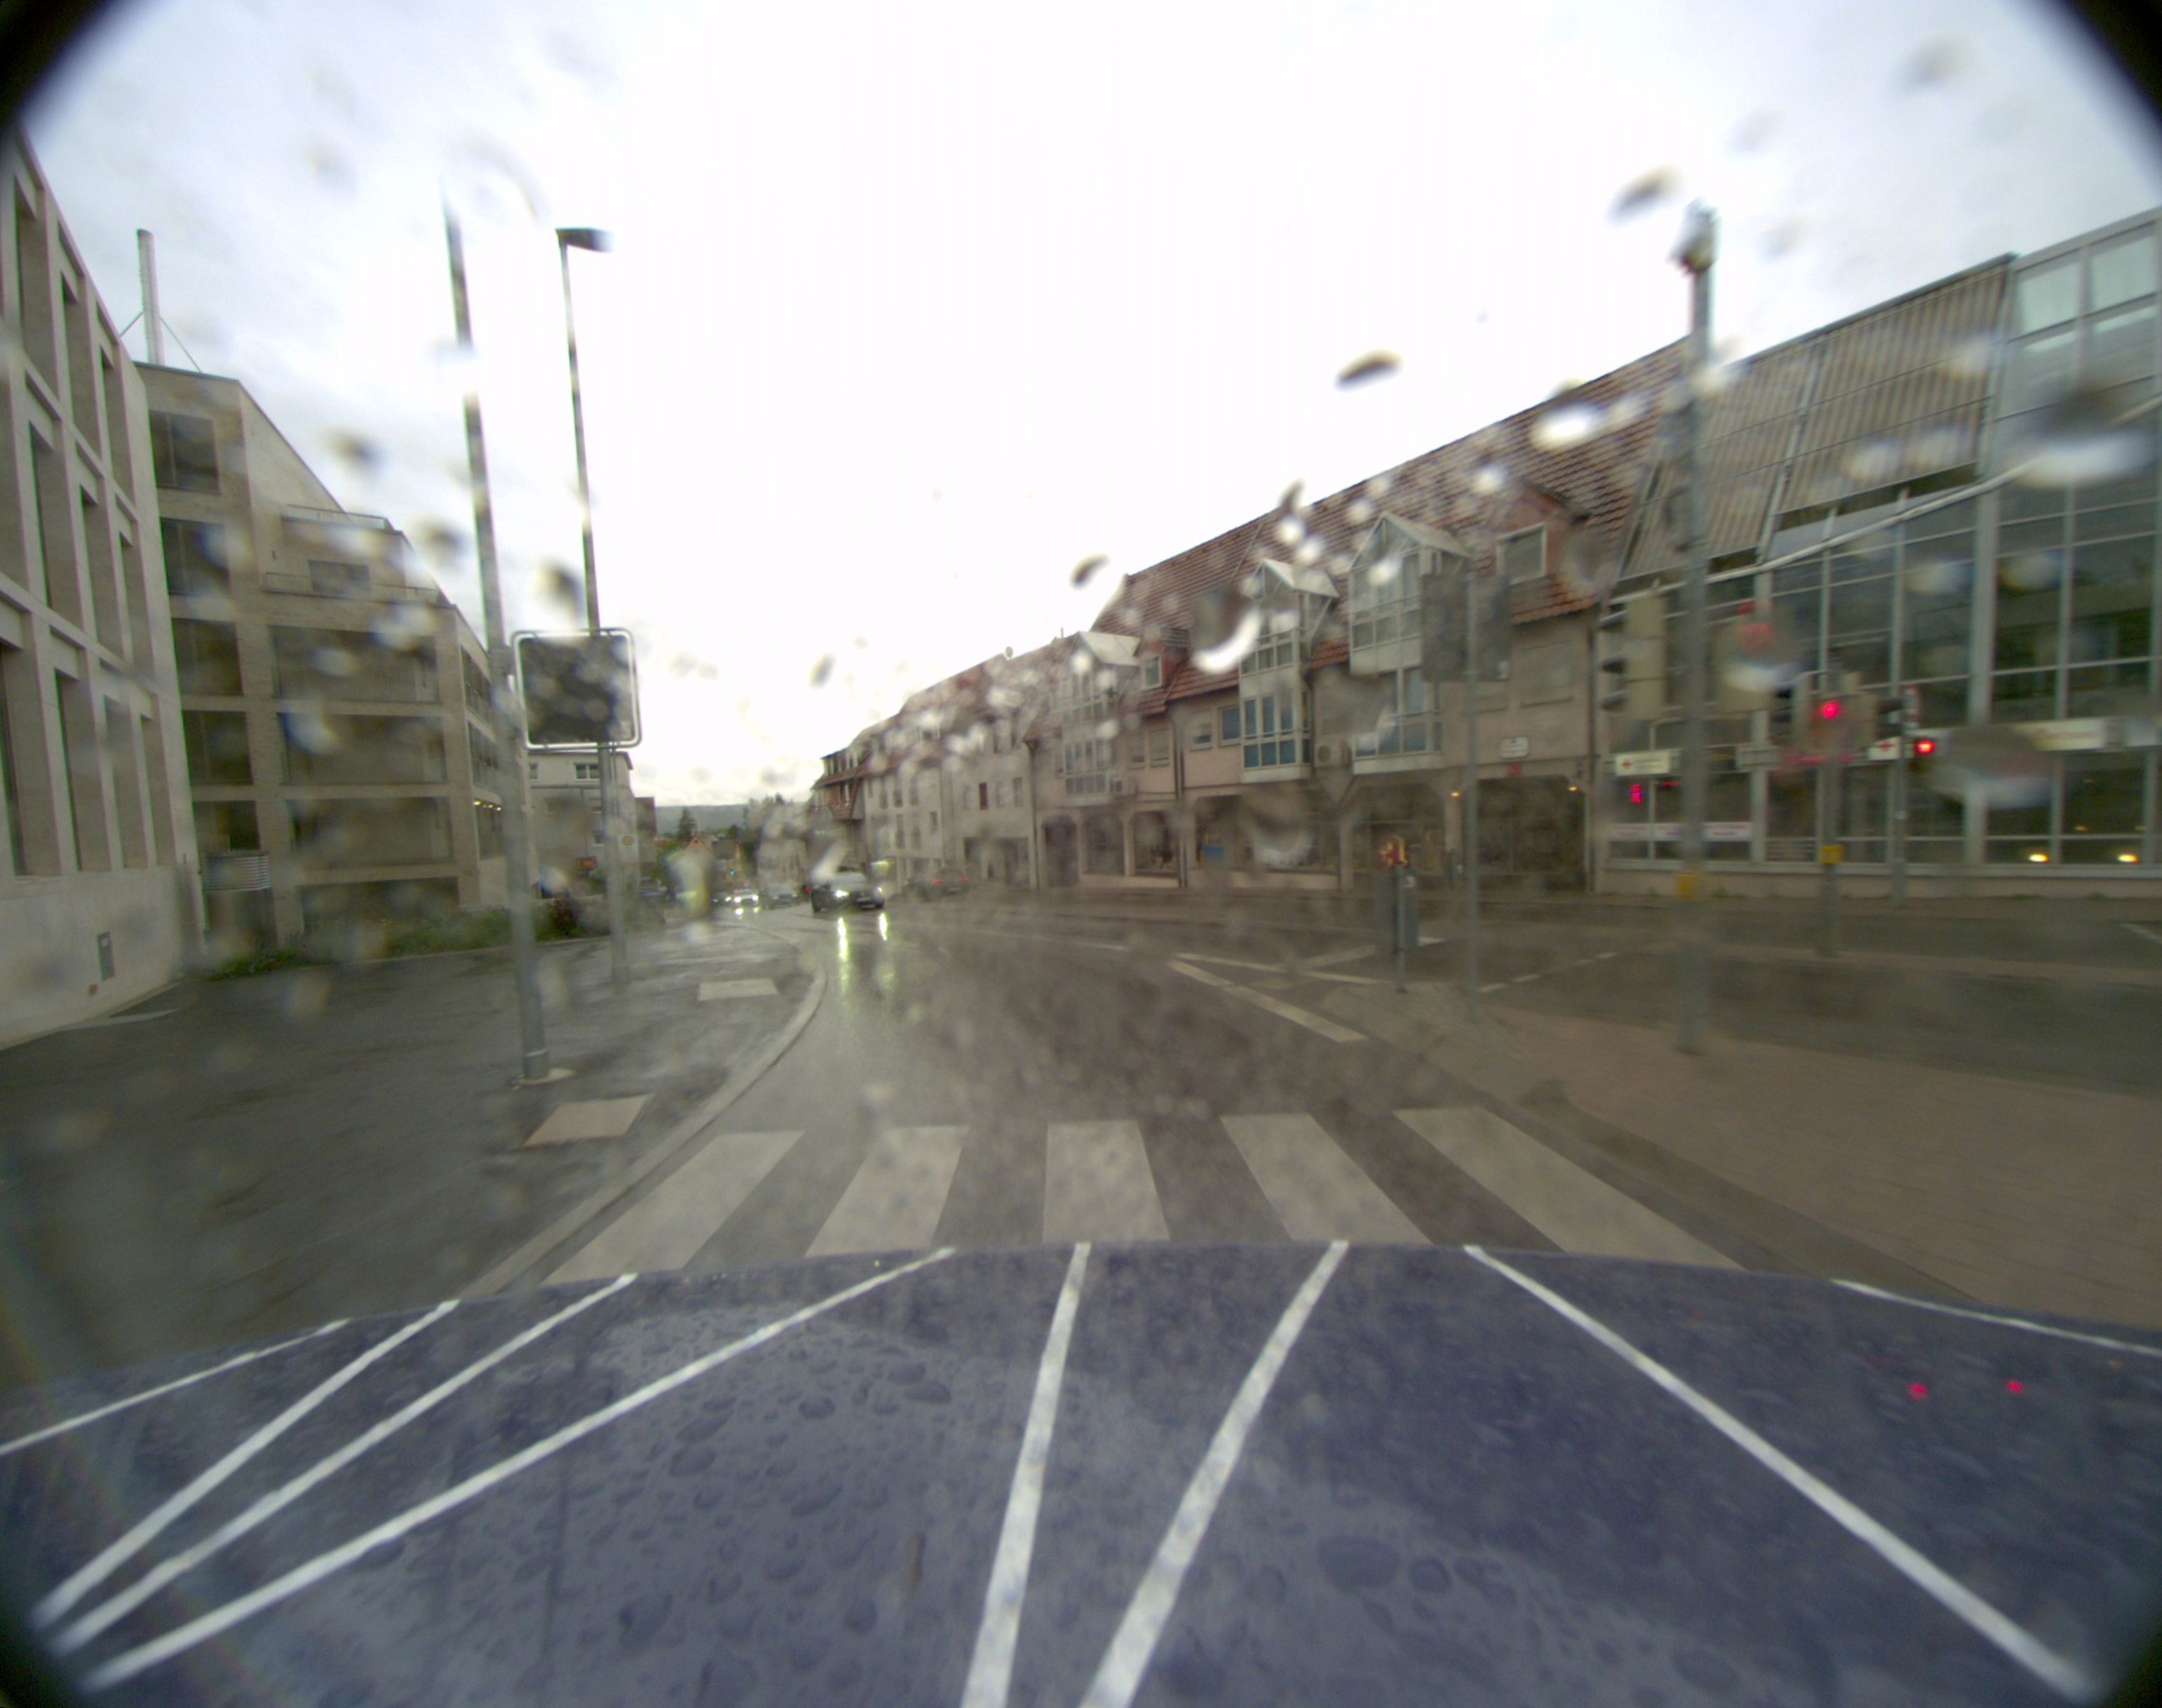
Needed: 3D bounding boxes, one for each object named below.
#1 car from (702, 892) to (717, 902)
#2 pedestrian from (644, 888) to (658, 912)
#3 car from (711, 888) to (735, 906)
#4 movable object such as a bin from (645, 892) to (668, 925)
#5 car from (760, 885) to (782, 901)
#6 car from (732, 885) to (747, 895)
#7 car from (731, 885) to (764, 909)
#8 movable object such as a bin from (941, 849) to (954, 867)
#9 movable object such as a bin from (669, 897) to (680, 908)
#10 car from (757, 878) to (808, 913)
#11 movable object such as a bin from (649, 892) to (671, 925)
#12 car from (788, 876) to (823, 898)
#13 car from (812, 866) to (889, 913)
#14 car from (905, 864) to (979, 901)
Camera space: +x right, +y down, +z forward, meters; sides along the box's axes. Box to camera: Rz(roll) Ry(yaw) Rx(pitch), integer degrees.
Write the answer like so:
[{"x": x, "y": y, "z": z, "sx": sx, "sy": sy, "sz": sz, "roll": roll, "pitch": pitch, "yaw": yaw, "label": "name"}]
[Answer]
[{"x": -51.067, "y": 5.889, "z": 104.312, "sx": 1.675, "sy": 1.280, "sz": 3.561, "roll": -2, "pitch": 0, "yaw": -29, "label": "car"}, {"x": -28.221, "y": 2.987, "z": 49.855, "sx": 0.739, "sy": 1.532, "sz": 1.036, "roll": -1, "pitch": -2, "yaw": -26, "label": "pedestrian"}, {"x": -36.609, "y": 4.441, "z": 77.612, "sx": 1.971, "sy": 1.597, "sz": 4.376, "roll": -4, "pitch": -2, "yaw": -27, "label": "car"}, {"x": -14.248, "y": 1.828, "z": 25.526, "sx": 0.598, "sy": 1.056, "sz": 0.578, "roll": -4, "pitch": 0, "yaw": -29, "label": "movable object such as a bin"}, {"x": -31.359, "y": 3.939, "z": 76.815, "sx": 1.566, "sy": 1.526, "sz": 3.442, "roll": -3, "pitch": -1, "yaw": -30, "label": "car"}, {"x": -47.595, "y": 5.021, "z": 105.888, "sx": 1.675, "sy": 1.280, "sz": 3.561, "roll": -2, "pitch": 0, "yaw": -29, "label": "car"}, {"x": -25.830, "y": 3.366, "z": 58.802, "sx": 1.971, "sy": 1.597, "sz": 4.376, "roll": -4, "pitch": -2, "yaw": -27, "label": "car"}, {"x": -7.850, "y": 0.257, "z": 44.774, "sx": 0.510, "sy": 1.000, "sz": 0.584, "roll": -5, "pitch": 0, "yaw": -33, "label": "movable object such as a bin"}, {"x": -55.261, "y": 6.619, "z": 103.237, "sx": 1.240, "sy": 1.327, "sz": 1.170, "roll": -3, "pitch": -2, "yaw": -27, "label": "movable object such as a bin"}, {"x": -17.743, "y": 2.504, "z": 45.082, "sx": 1.971, "sy": 1.759, "sz": 4.375, "roll": -4, "pitch": -2, "yaw": -31, "label": "car"}, {"x": -14.534, "y": 1.869, "z": 26.230, "sx": 0.598, "sy": 1.056, "sz": 0.578, "roll": -4, "pitch": 0, "yaw": -29, "label": "movable object such as a bin"}, {"x": -22.835, "y": 2.755, "z": 62.880, "sx": 1.790, "sy": 1.620, "sz": 4.207, "roll": -4, "pitch": 0, "yaw": -32, "label": "car"}, {"x": -9.091, "y": 1.375, "z": 29.703, "sx": 1.971, "sy": 1.548, "sz": 4.614, "roll": -4, "pitch": -1, "yaw": -28, "label": "car"}, {"x": -6.194, "y": 1.258, "z": 33.513, "sx": 1.896, "sy": 1.458, "sz": 3.991, "roll": -2, "pitch": -1, "yaw": -31, "label": "car"}]
